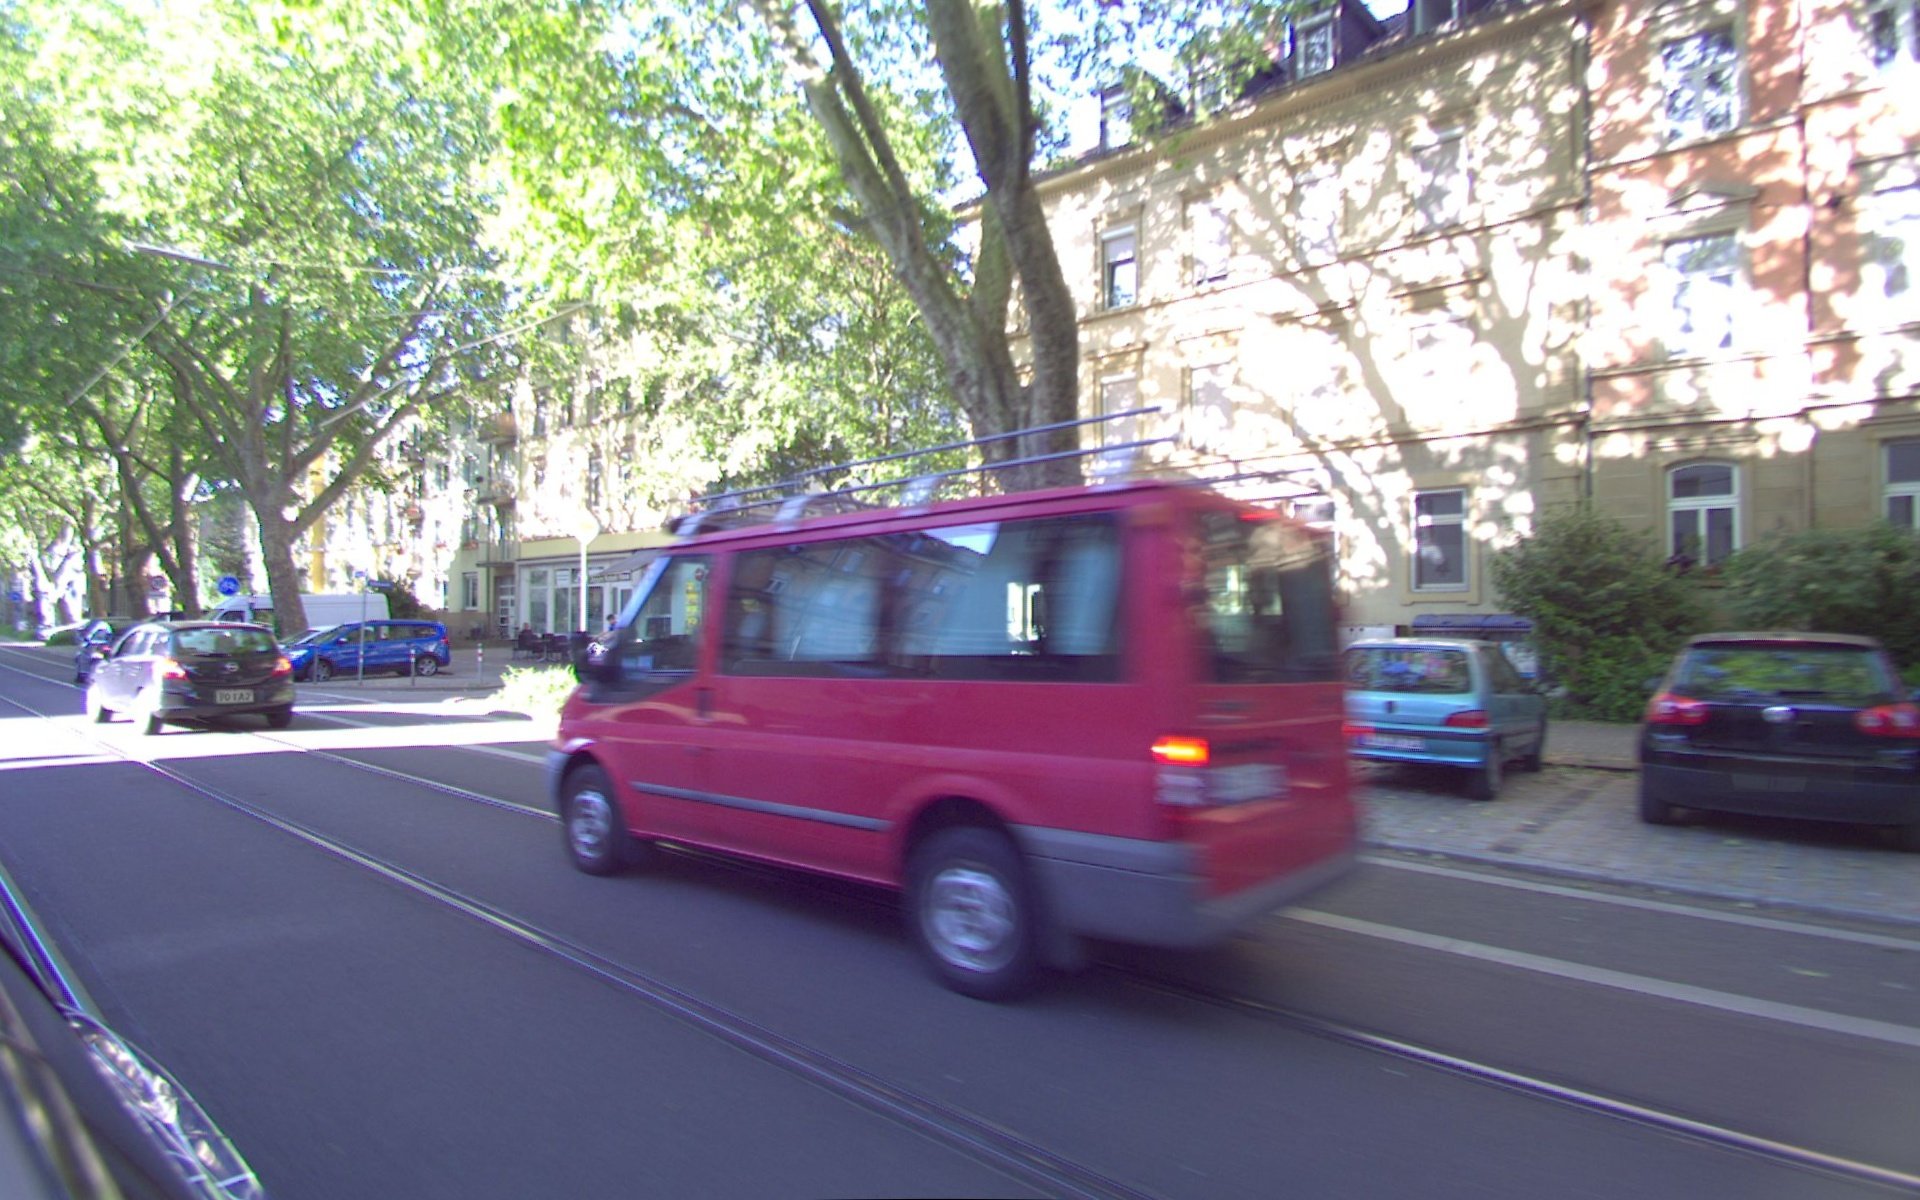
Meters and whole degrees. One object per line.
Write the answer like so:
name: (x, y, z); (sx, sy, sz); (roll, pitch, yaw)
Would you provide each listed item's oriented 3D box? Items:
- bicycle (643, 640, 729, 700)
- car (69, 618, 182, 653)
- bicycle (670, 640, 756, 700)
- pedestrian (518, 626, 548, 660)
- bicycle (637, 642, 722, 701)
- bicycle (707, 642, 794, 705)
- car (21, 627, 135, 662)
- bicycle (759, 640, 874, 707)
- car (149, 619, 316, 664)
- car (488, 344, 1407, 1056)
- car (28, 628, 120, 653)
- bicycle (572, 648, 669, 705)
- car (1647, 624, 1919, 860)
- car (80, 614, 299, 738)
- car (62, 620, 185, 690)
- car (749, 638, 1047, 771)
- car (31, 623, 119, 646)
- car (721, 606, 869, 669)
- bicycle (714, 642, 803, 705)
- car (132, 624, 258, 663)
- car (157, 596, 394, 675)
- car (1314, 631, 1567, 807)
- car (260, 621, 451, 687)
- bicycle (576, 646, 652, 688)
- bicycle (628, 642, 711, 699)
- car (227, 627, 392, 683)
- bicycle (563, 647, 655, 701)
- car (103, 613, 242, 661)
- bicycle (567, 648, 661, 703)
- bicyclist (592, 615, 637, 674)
bicycle: (-5.230, 1.317, 19.353); (1.536, 1.096, 0.397); (1, -2, -30)
car: (-43.614, 1.824, 52.963); (1.999, 1.625, 4.309); (-2, -1, 42)
bicycle: (-4.657, 1.308, 19.128); (1.536, 1.096, 0.397); (1, -2, -30)
pedestrian: (-15.825, 1.578, 37.462); (0.930, 1.250, 0.699); (-1, -2, 43)
bicycle: (-5.464, 1.383, 19.735); (1.536, 1.096, 0.397); (1, -2, -30)
bicycle: (-3.866, 1.344, 18.730); (1.536, 1.096, 0.397); (1, -2, -30)
car: (-46.425, 2.330, 53.309); (1.999, 1.625, 4.309); (-2, -1, 42)
bicycle: (-2.482, 1.260, 17.630); (1.892, 1.096, 0.599); (1, -2, -30)
car: (-27.755, 1.542, 38.743); (1.999, 1.456, 4.879); (-2, 0, 42)
car: (-0.432, 0.387, 5.534); (4.956, 2.244, 1.898); (-1, -4, 40)
car: (-53.734, 2.413, 61.422); (1.599, 1.442, 3.948); (-1, -1, 38)
bicycle: (-6.939, 1.549, 20.751); (1.830, 1.096, 0.397); (1, -2, -30)
car: (6.878, 0.931, 8.167); (1.769, 1.471, 3.945); (-1, -2, 41)
car: (-10.917, 0.974, 14.261); (3.720, 1.521, 1.700); (-1, -2, 41)
car: (-19.789, 1.264, 23.899); (3.690, 1.521, 1.618); (-1, -4, 42)
car: (-0.721, 1.290, 13.852); (1.878, 1.471, 3.946); (-1, -2, 41)
car: (-55.487, 2.147, 63.483); (1.410, 1.385, 3.948); (-1, -1, 38)
car: (-5.473, 1.199, 33.961); (2.129, 1.894, 4.521); (2, 1, 43)
bicycle: (-3.628, 1.311, 18.295); (1.536, 1.096, 0.397); (1, -2, -30)
car: (-32.752, 1.824, 43.410); (1.869, 1.456, 4.015); (-2, -1, 42)
car: (-23.594, 1.146, 35.185); (1.999, 2.426, 6.532); (-2, -1, 42)
car: (4.959, 1.009, 10.155); (1.602, 1.379, 3.951); (-1, -2, 36)
car: (-17.019, 1.459, 28.680); (1.814, 1.725, 4.278); (-1, -2, 38)
bicycle: (-9.178, 1.764, 26.895); (0.628, 1.039, 1.852); (-1, -2, 39)
bicycle: (-5.759, 1.385, 20.099); (1.536, 1.096, 0.397); (1, -2, -30)
car: (-19.235, 1.575, 30.043); (1.746, 1.529, 3.732); (-1, -2, 38)
bicycle: (-7.543, 1.581, 21.790); (1.830, 1.096, 0.397); (1, -2, -30)
car: (-34.933, 1.594, 44.996); (1.920, 1.922, 4.580); (-2, -1, 40)
bicycle: (-7.316, 1.577, 21.426); (1.830, 1.096, 0.397); (1, -2, -30)
bicyclist: (-9.185, 1.167, 26.910); (0.736, 1.538, 0.858); (-1, -2, 39)
